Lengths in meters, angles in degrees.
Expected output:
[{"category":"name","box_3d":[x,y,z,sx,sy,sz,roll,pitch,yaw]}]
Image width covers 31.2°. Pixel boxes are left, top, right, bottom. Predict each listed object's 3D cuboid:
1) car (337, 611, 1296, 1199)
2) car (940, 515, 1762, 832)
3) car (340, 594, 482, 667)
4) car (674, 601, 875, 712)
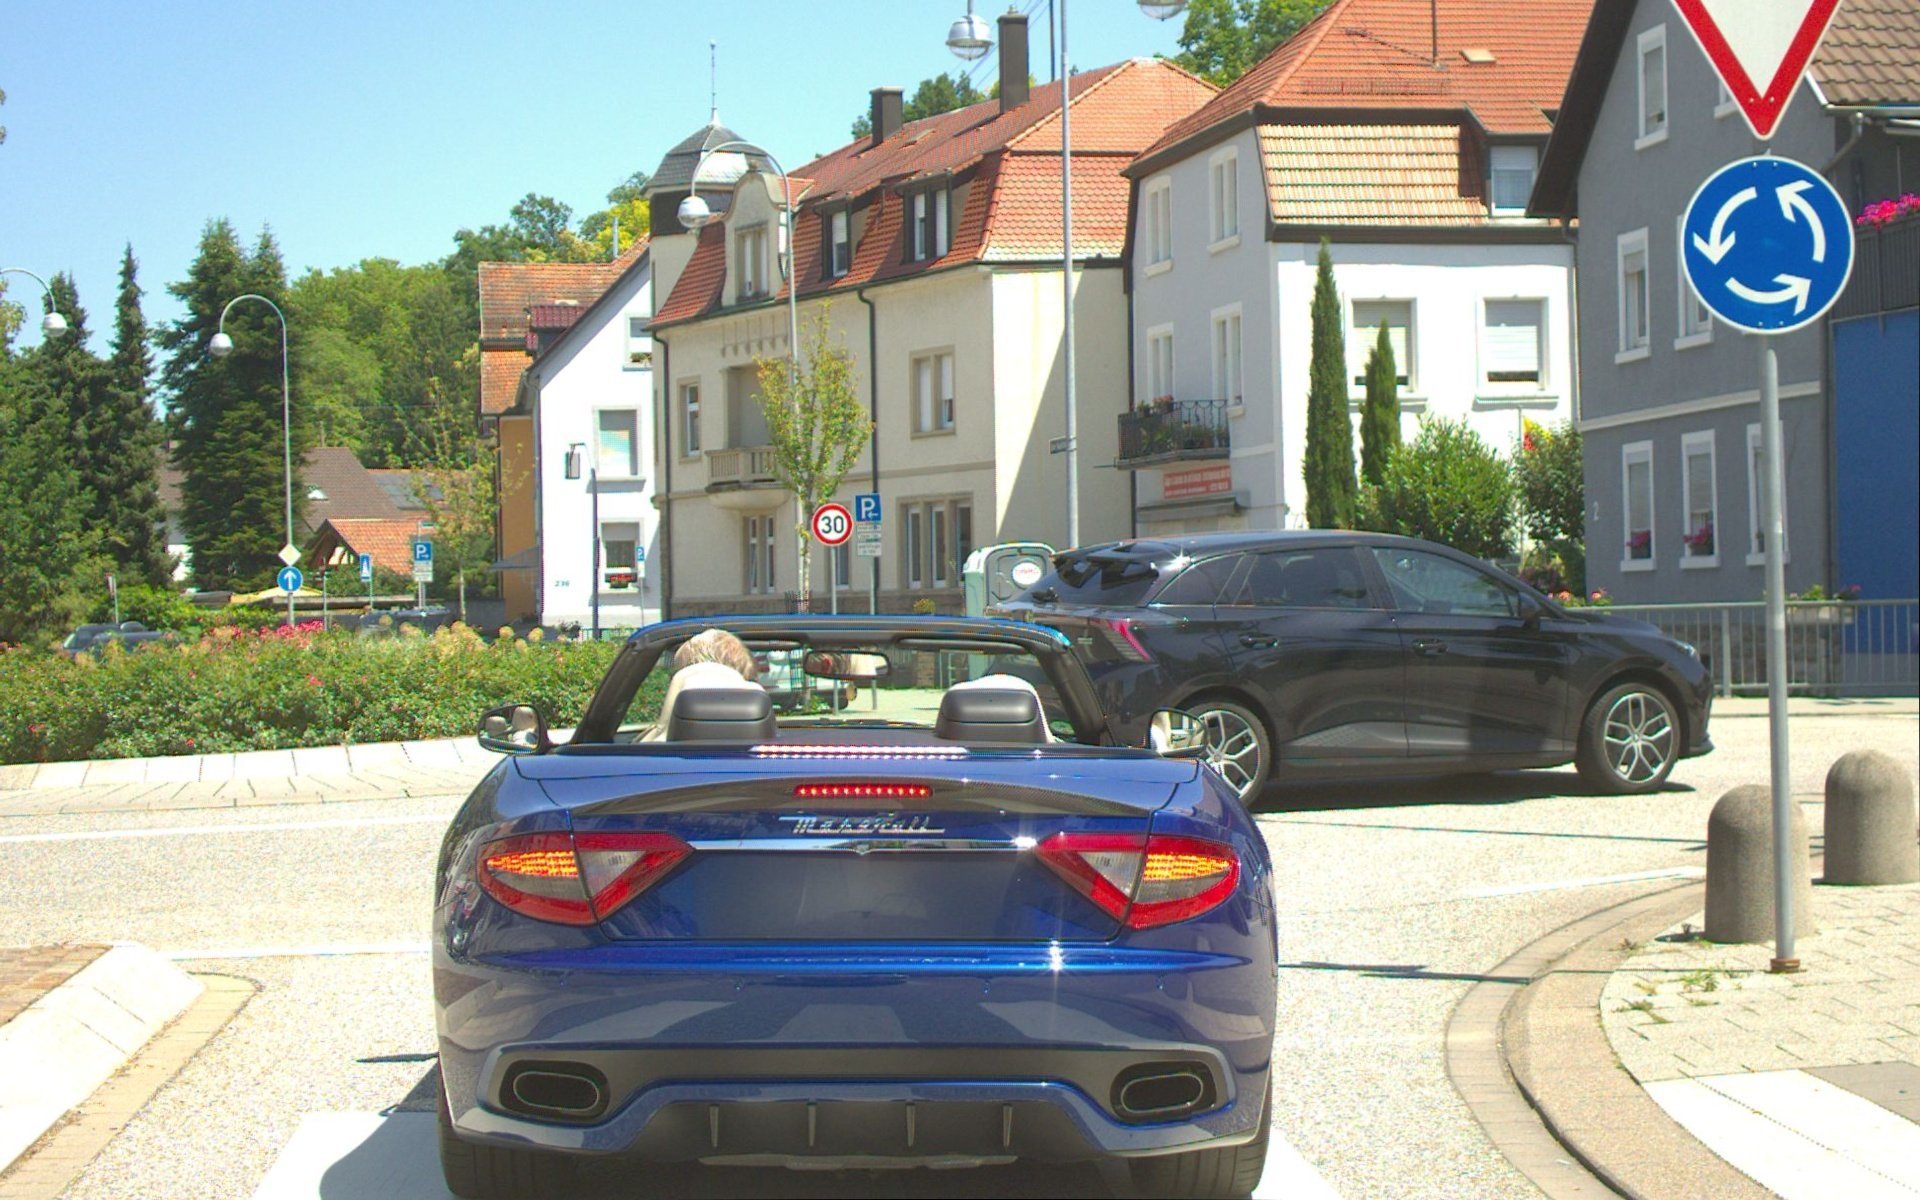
[{"category":"car","box_3d":[-0.269,0.715,9.001,1.910,1.356,4.285,0,0,1]},{"category":"car","box_3d":[2.213,0.347,19.417,4.248,1.542,1.812,-2,1,-24]},{"category":"car","box_3d":[-12.880,0.726,80.482,1.850,1.583,4.000,-3,0,-31]},{"category":"car","box_3d":[-2.926,0.900,53.429,1.918,1.607,4.148,-2,-1,-20]}]
